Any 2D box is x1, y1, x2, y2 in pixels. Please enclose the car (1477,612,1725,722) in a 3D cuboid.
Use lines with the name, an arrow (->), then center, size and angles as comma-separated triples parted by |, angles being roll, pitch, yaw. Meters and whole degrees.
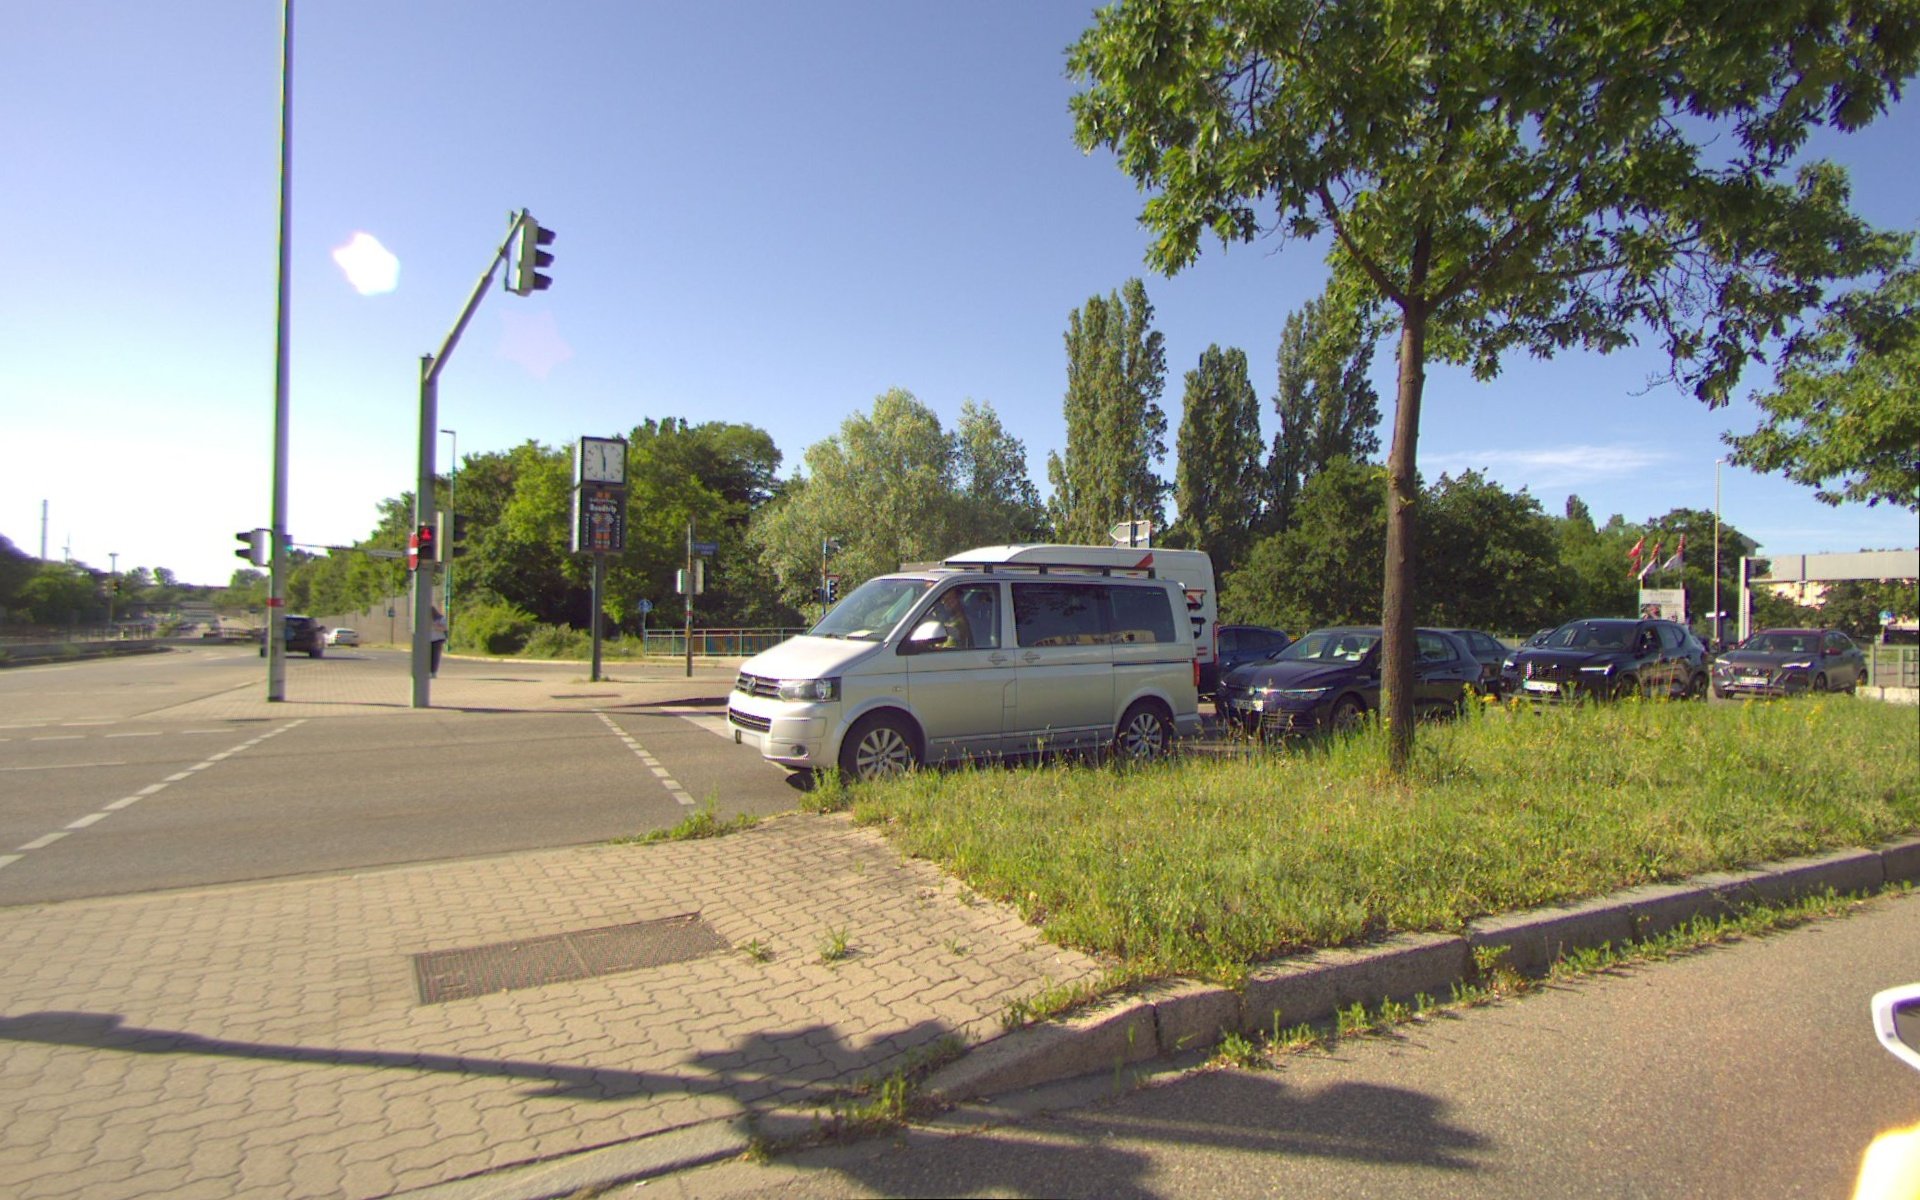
car -> 11.069, 1.075, 17.256 | 4.457, 1.644, 1.926 | 1, -1, -33

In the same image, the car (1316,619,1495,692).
car -> 11.019, 1.325, 24.747 | 4.457, 1.644, 1.926 | 1, -1, -33

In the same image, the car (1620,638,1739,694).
car -> 23.231, 2.078, 32.423 | 3.699, 1.644, 1.926 | 1, -1, -33

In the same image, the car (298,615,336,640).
car -> -41.389, 1.752, 64.743 | 1.978, 1.528, 3.965 | 0, -1, -32

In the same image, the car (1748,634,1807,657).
car -> 74.714, 4.126, 91.884 | 4.185, 2.040, 1.991 | -1, -2, 39

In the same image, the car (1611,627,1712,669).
car -> 29.264, 1.980, 41.884 | 4.457, 1.644, 1.926 | 1, -1, -33

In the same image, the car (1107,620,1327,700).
car -> 5.360, 1.185, 20.779 | 4.457, 1.484, 1.926 | 1, -1, -33

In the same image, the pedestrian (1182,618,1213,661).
pedestrian -> 9.533, 1.594, 40.331 | 0.814, 1.651, 0.787 | 4, -1, -28

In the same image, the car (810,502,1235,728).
car -> 1.065, 0.245, 14.074 | 6.026, 2.610, 1.925 | 2, -1, -34

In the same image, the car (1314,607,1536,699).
car -> 9.257, 0.996, 19.906 | 4.457, 1.644, 1.926 | 1, -1, -33

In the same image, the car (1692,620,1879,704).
car -> 18.222, 1.304, 22.134 | 4.457, 1.644, 1.926 | 1, -1, -33

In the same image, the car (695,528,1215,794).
car -> 0.103, 0.525, 9.872 | 4.880, 2.034, 1.925 | 2, -1, -34

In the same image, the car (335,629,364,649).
car -> -46.815, 2.985, 76.959 | 1.767, 1.433, 4.279 | 1, -2, -33

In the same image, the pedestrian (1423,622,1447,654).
pedestrian -> 23.340, 1.845, 49.350 | 0.766, 1.522, 0.670 | 3, -1, -14

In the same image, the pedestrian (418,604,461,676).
pedestrian -> -11.635, 0.887, 22.468 | 0.700, 1.568, 0.726 | 1, -1, -16

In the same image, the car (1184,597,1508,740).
car -> 5.322, 0.845, 13.666 | 4.459, 1.644, 1.925 | 2, -1, -34

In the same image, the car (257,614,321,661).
car -> -26.846, 1.473, 40.286 | 1.859, 1.731, 4.161 | 2, -1, -31

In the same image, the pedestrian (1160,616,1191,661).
pedestrian -> 8.466, 1.503, 39.440 | 0.814, 1.688, 0.787 | 4, -1, -28
